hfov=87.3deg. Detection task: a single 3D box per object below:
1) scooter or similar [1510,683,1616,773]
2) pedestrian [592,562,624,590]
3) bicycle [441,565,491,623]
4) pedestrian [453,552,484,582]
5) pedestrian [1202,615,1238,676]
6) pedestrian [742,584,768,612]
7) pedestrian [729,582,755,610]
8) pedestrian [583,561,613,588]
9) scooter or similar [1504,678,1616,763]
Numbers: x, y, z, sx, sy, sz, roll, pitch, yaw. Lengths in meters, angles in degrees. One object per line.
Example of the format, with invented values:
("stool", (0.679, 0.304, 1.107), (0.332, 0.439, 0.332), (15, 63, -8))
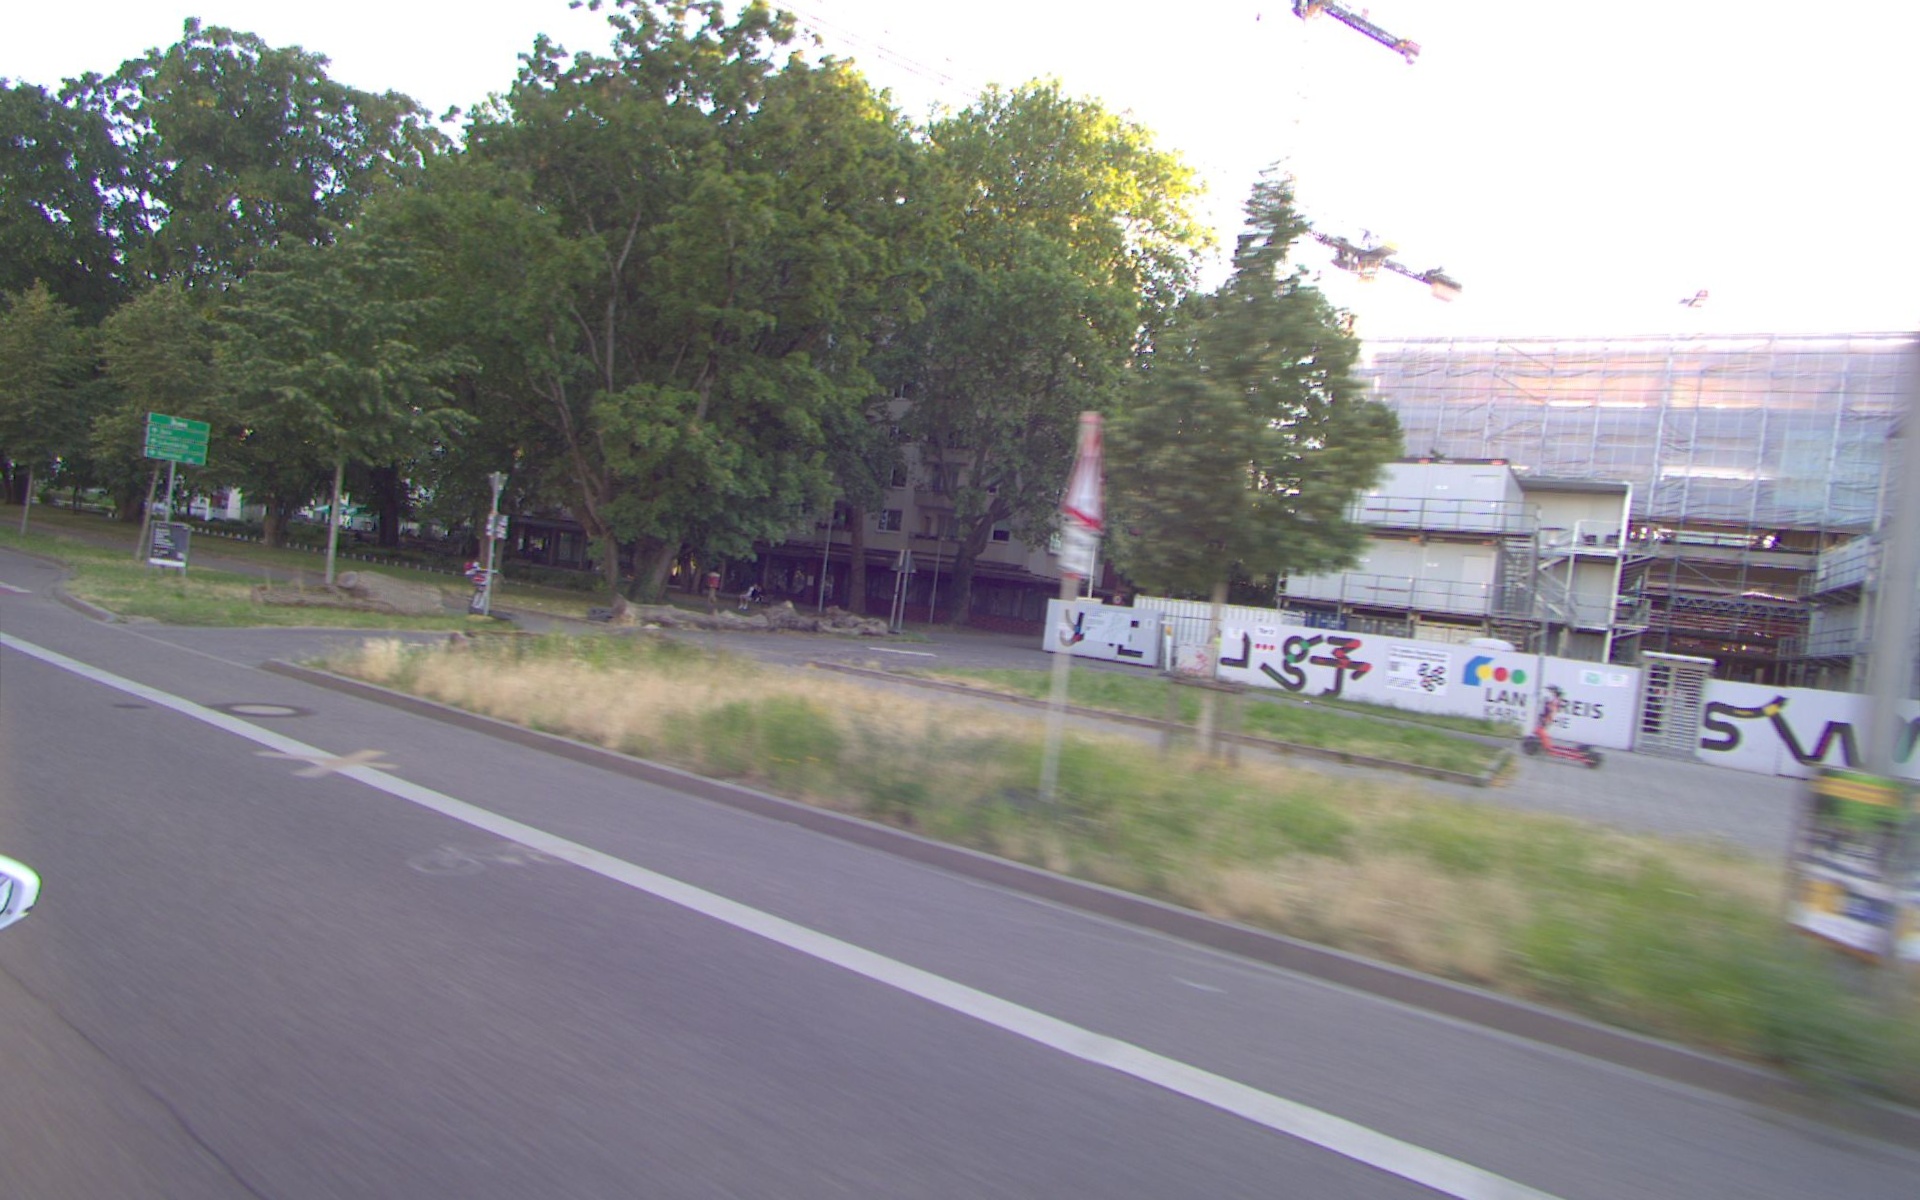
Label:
("scooter or similar", (10.055, 2.109, 16.795), (1.375, 1.237, 0.423), (7, 4, 33))
("pedestrian", (-17.913, -1.214, 51.240), (0.891, 1.276, 1.132), (7, 1, 34))
("bicycle", (-10.100, -0.134, 20.541), (0.491, 1.019, 1.878), (3, 3, -38))
("pedestrian", (-16.451, -1.109, 33.700), (0.582, 0.895, 0.681), (7, 1, 7))
("pedestrian", (8.372, 1.459, 32.362), (0.764, 1.879, 0.592), (6, 2, -43))
("pedestrian", (-9.402, -0.093, 46.131), (0.753, 1.179, 0.788), (7, 1, 26))
("pedestrian", (-10.075, -0.165, 46.461), (0.753, 1.179, 0.788), (7, 1, 26))
("pedestrian", (-18.645, -1.315, 51.821), (0.714, 1.276, 1.132), (7, 1, 34))
("scooter or similar", (10.601, 2.114, 17.830), (1.546, 1.237, 0.473), (7, 4, 26))
